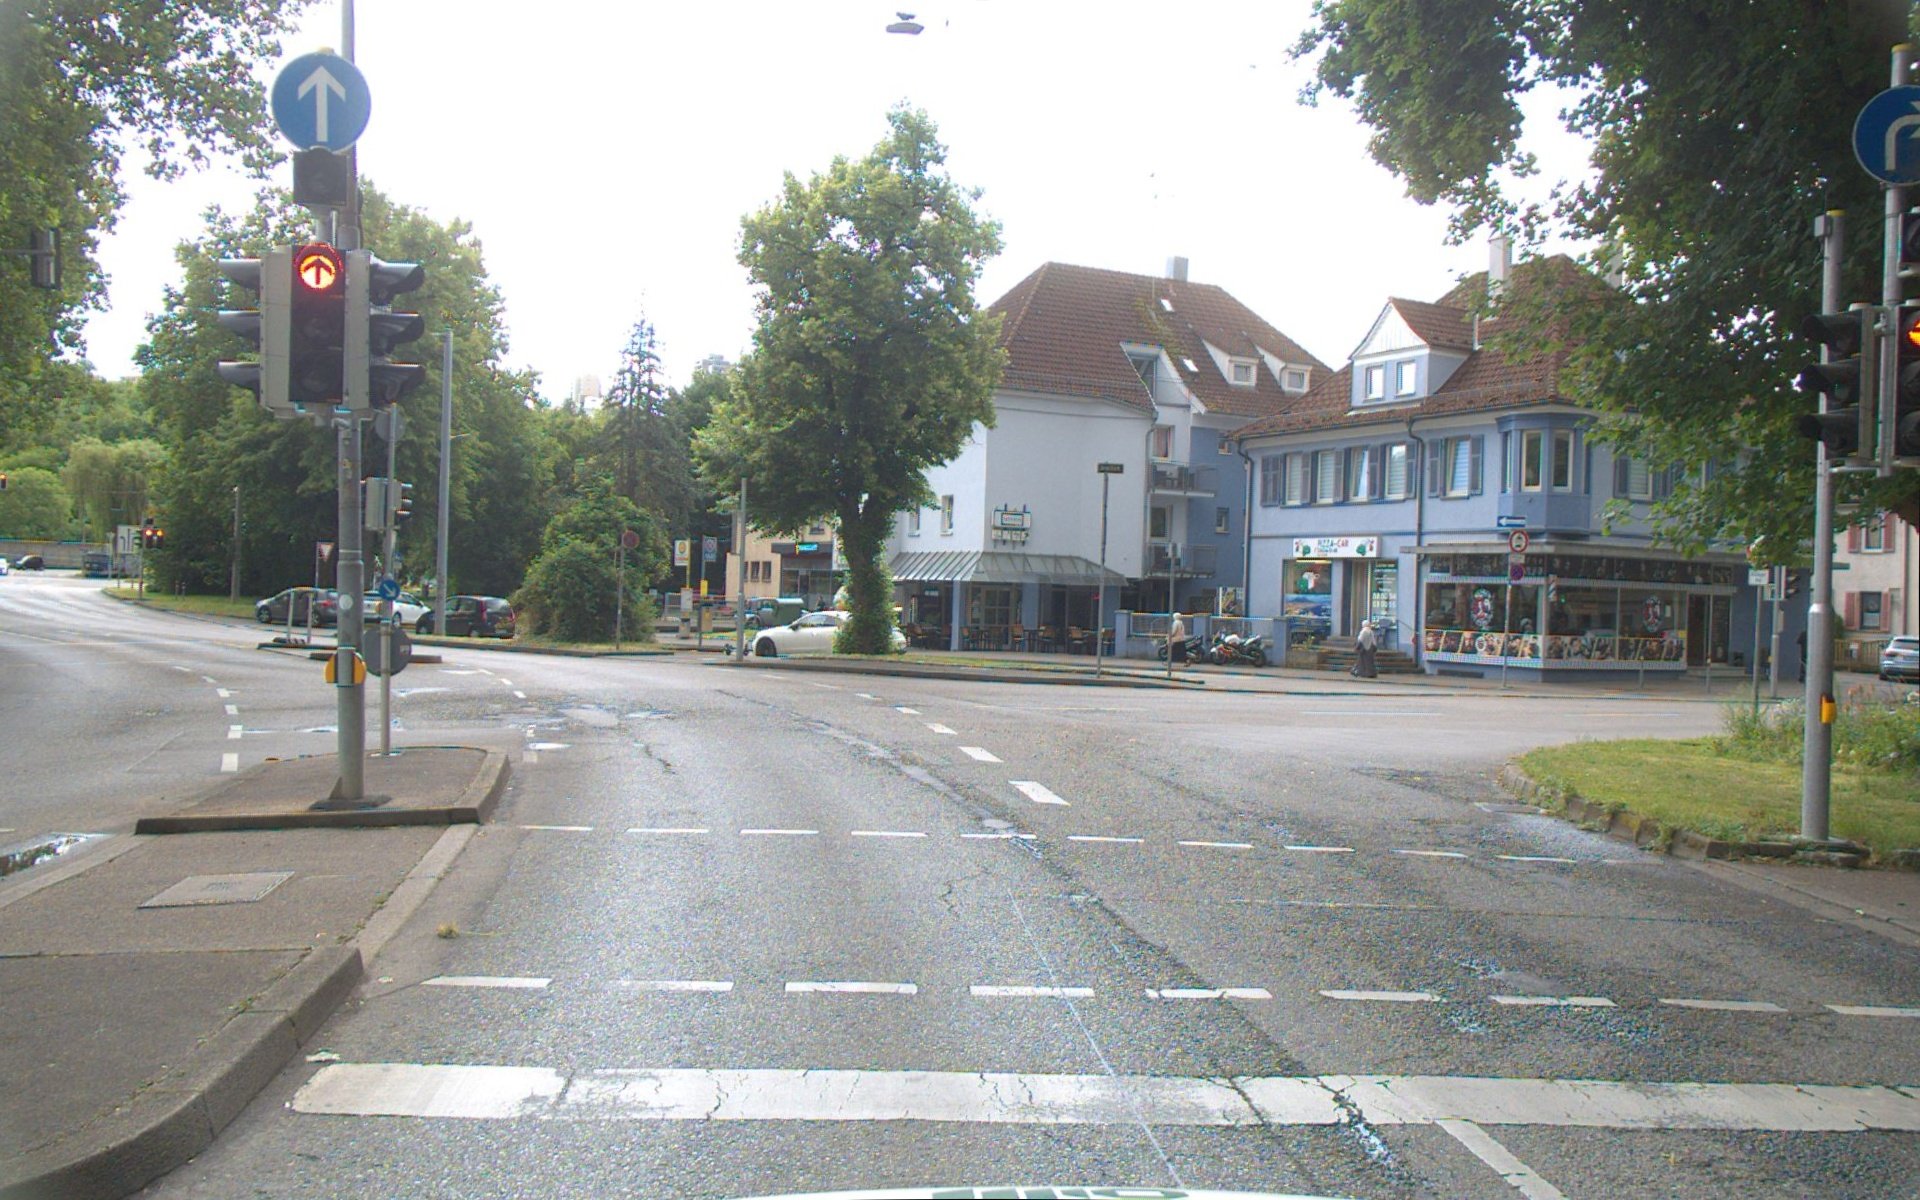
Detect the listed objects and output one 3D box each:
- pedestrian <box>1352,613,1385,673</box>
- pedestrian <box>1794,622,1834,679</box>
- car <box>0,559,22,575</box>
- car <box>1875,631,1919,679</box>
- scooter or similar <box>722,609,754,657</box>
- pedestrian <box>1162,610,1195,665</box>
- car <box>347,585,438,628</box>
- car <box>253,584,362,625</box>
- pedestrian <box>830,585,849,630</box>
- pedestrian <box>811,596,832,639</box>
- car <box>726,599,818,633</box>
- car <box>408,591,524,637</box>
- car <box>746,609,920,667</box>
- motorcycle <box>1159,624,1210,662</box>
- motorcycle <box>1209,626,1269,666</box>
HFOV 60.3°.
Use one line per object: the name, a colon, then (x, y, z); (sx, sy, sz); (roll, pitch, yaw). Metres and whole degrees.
pedestrian: (11.060, 1.167, 44.798); (0.681, 1.587, 0.665); (0, -1, 30)
pedestrian: (24.037, 1.416, 46.568); (0.659, 1.587, 0.743); (1, -1, -15)
car: (-88.639, -3.075, 153.864); (2.970, 1.442, 1.492); (0, -2, 40)
car: (29.699, 1.695, 51.689); (1.849, 1.415, 3.608); (1, 0, 28)
scooter or similar: (-5.700, 0.834, 42.510); (0.433, 1.195, 1.439); (1, 0, 8)
pedestrian: (6.385, 1.095, 48.345); (0.717, 1.587, 0.767); (0, -1, 30)
car: (-22.730, 0.266, 66.407); (1.821, 1.668, 3.757); (1, 0, 10)
car: (-25.005, 0.160, 63.424); (3.695, 1.491, 1.622); (1, 0, 18)
pedestrian: (-4.309, 0.276, 59.121); (0.531, 1.587, 0.468); (0, -1, 13)
pedestrian: (-6.741, 0.834, 80.629); (0.823, 2.049, 1.052); (1, 0, -15)
car: (-8.578, 0.741, 75.482); (3.880, 1.467, 1.742); (1, 0, -21)
car: (-15.912, 0.453, 53.265); (3.252, 1.376, 1.778); (1, 0, 27)
car: (-3.531, 1.027, 45.685); (4.618, 1.435, 1.896); (1, 0, 35)
motorcycle: (6.815, 1.294, 50.211); (1.430, 1.107, 0.522); (1, 0, 35)
motorcycle: (8.169, 1.345, 48.461); (1.595, 1.107, 0.625); (1, 0, 32)
